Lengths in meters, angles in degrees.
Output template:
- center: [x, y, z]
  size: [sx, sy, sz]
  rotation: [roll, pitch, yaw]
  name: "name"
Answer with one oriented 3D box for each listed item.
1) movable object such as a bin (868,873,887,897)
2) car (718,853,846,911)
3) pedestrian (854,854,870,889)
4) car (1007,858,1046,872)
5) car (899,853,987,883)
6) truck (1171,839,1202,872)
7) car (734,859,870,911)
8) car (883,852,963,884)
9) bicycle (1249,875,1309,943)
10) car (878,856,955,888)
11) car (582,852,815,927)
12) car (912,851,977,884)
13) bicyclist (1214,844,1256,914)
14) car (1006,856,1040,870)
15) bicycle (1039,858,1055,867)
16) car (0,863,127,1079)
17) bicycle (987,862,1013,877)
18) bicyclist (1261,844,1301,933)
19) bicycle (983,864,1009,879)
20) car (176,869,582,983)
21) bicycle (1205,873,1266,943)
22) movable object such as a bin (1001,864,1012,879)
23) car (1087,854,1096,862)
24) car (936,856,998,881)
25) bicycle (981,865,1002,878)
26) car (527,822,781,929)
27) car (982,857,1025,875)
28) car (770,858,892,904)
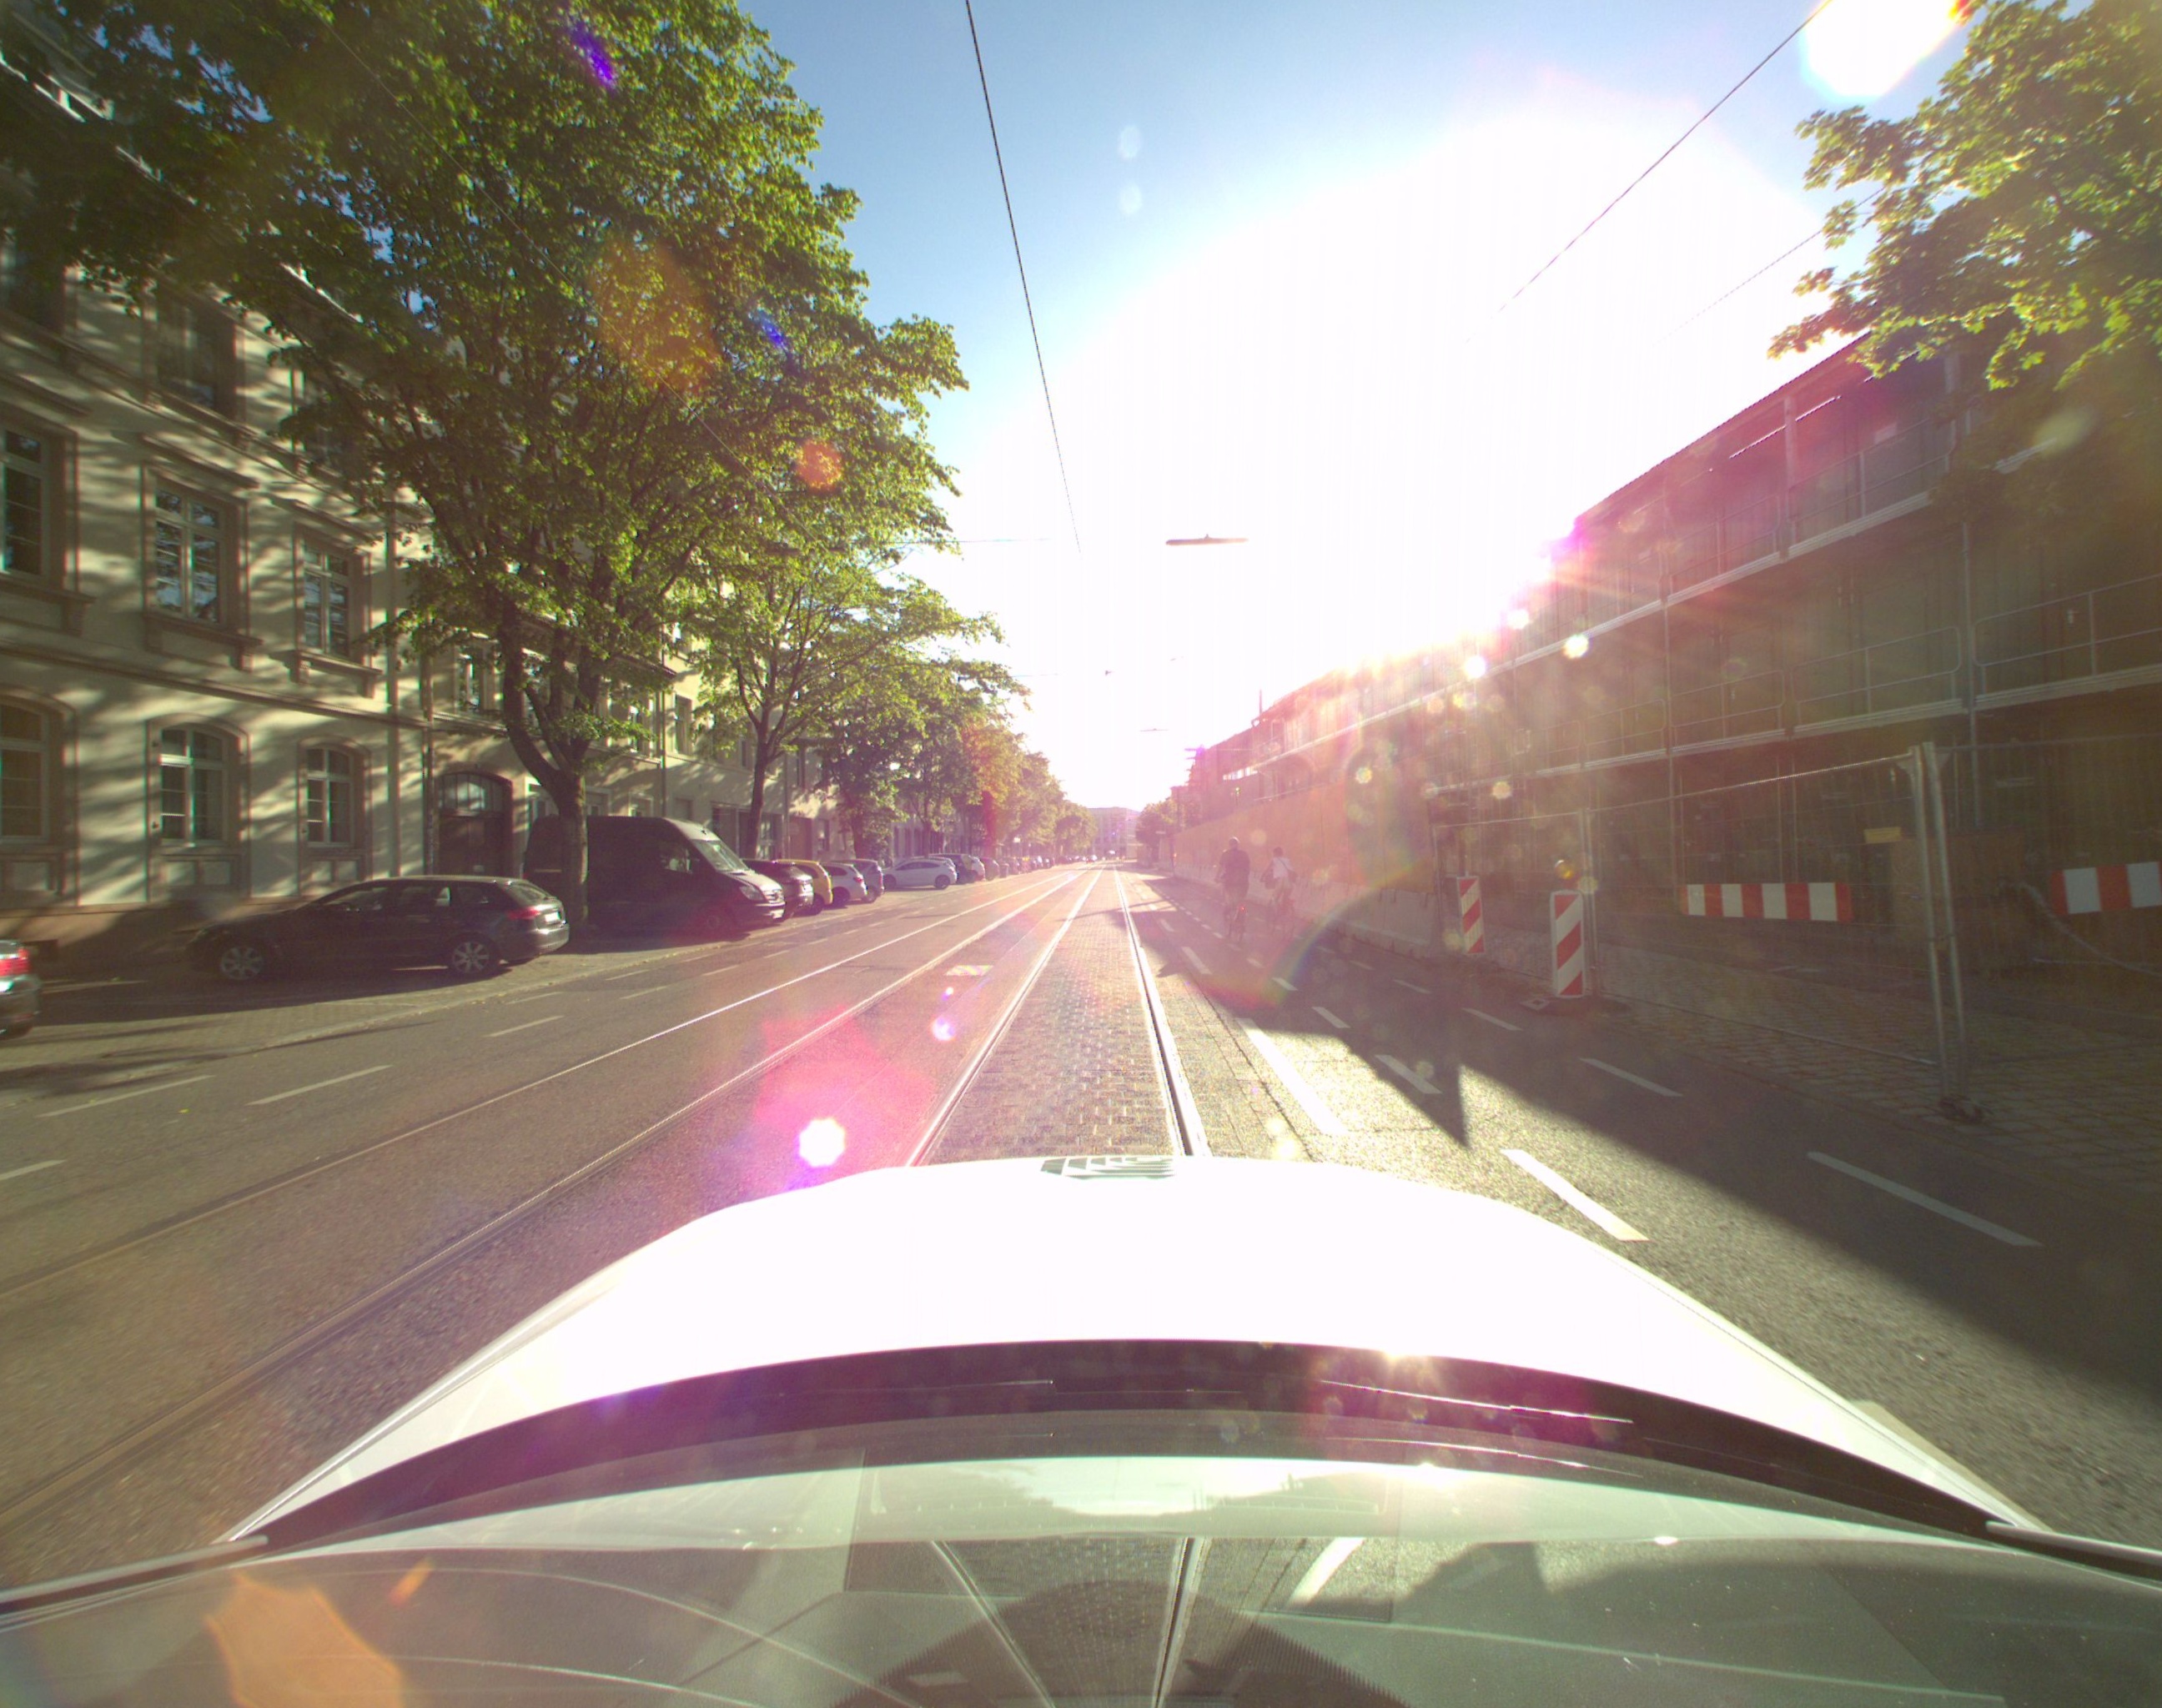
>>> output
- center: [-8.369, 1.267, 33.534]
  size: [0.619, 0.945, 0.670]
  rotation: [-1, 0, 1]
  name: "movable object such as a bin"
- center: [-8.822, 0.777, 24.054]
  size: [3.384, 1.552, 1.372]
  rotation: [0, 2, -29]
  name: "car"
- center: [-11.642, 0.944, 43.336]
  size: [0.641, 1.838, 0.625]
  rotation: [-1, -1, 3]
  name: "pedestrian"
- center: [-6.237, 1.224, 93.585]
  size: [4.123, 1.512, 1.826]
  rotation: [1, 0, -25]
  name: "car"
- center: [-8.624, 0.867, 51.116]
  size: [4.965, 1.794, 2.183]
  rotation: [0, -1, -39]
  name: "car"
- center: [10.120, 0.184, 78.627]
  size: [2.509, 2.909, 5.512]
  rotation: [-4, -1, 3]
  name: "truck"
- center: [-9.318, 1.012, 27.508]
  size: [4.164, 1.552, 1.694]
  rotation: [-2, 0, -14]
  name: "car"
- center: [-8.907, 0.811, 45.944]
  size: [4.009, 1.656, 1.794]
  rotation: [2, 0, -28]
  name: "car"
- center: [3.748, 1.007, 15.615]
  size: [0.555, 1.127, 2.275]
  rotation: [-2, 0, 0]
  name: "bicycle"
- center: [-8.459, 0.935, 41.752]
  size: [3.645, 1.530, 1.875]
  rotation: [2, -2, -18]
  name: "car"
- center: [-9.469, 0.846, 20.511]
  size: [4.814, 1.724, 2.163]
  rotation: [-1, 0, -1]
  name: "car"
- center: [-8.139, 0.846, 48.583]
  size: [3.457, 1.843, 1.715]
  rotation: [2, -5, -32]
  name: "car"
- center: [2.781, 0.449, 14.748]
  size: [0.649, 1.238, 0.353]
  rotation: [-2, 0, 0]
  name: "bicyclist"
- center: [-6.466, 1.042, 90.689]
  size: [3.380, 1.493, 1.599]
  rotation: [1, 0, -26]
  name: "car"
- center: [-4.362, 1.076, 103.566]
  size: [1.969, 1.144, 0.490]
  rotation: [1, -1, -16]
  name: "bicycle"
- center: [-10.247, 0.861, 5.678]
  size: [4.683, 1.576, 1.952]
  rotation: [0, 0, -3]
  name: "car"
- center: [-6.630, 1.230, 66.502]
  size: [1.994, 1.087, 0.568]
  rotation: [4, 0, 4]
  name: "bicycle"
- center: [3.752, 0.639, 15.299]
  size: [0.554, 1.613, 0.576]
  rotation: [-2, 0, 0]
  name: "bicyclist"
- center: [-6.775, 1.404, 65.176]
  size: [1.959, 1.079, 0.569]
  rotation: [2, 0, 4]
  name: "bicycle"
- center: [-9.842, 0.971, 11.804]
  size: [4.091, 1.453, 1.663]
  rotation: [1, -1, -14]
  name: "car"
- center: [2.821, 0.953, 15.084]
  size: [0.665, 1.154, 2.275]
  rotation: [0, 0, -1]
  name: "bicycle"
- center: [-5.755, 1.352, 62.730]
  size: [0.681, 1.078, 0.710]
  rotation: [2, 0, 3]
  name: "movable object such as a bin"
- center: [2.306, 0.848, 176.670]
  size: [1.921, 1.629, 4.250]
  rotation: [-4, 0, 1]
  name: "car"
- center: [-7.849, 0.981, 56.103]
  size: [3.919, 1.609, 1.556]
  rotation: [-2, 0, -35]
  name: "car"
- center: [-6.989, 1.367, 63.500]
  size: [1.599, 0.988, 0.388]
  rotation: [1, 0, -9]
  name: "bicycle"
- center: [-9.316, 0.449, 18.108]
  size: [4.423, 2.118, 2.163]
  rotation: [-2, 0, -1]
  name: "car"
- center: [-7.190, 1.094, 75.577]
  size: [3.630, 1.553, 1.655]
  rotation: [1, 1, -24]
  name: "car"
- center: [-9.247, 0.977, 30.312]
  size: [3.971, 1.676, 1.703]
  rotation: [0, 0, 2]
  name: "car"
